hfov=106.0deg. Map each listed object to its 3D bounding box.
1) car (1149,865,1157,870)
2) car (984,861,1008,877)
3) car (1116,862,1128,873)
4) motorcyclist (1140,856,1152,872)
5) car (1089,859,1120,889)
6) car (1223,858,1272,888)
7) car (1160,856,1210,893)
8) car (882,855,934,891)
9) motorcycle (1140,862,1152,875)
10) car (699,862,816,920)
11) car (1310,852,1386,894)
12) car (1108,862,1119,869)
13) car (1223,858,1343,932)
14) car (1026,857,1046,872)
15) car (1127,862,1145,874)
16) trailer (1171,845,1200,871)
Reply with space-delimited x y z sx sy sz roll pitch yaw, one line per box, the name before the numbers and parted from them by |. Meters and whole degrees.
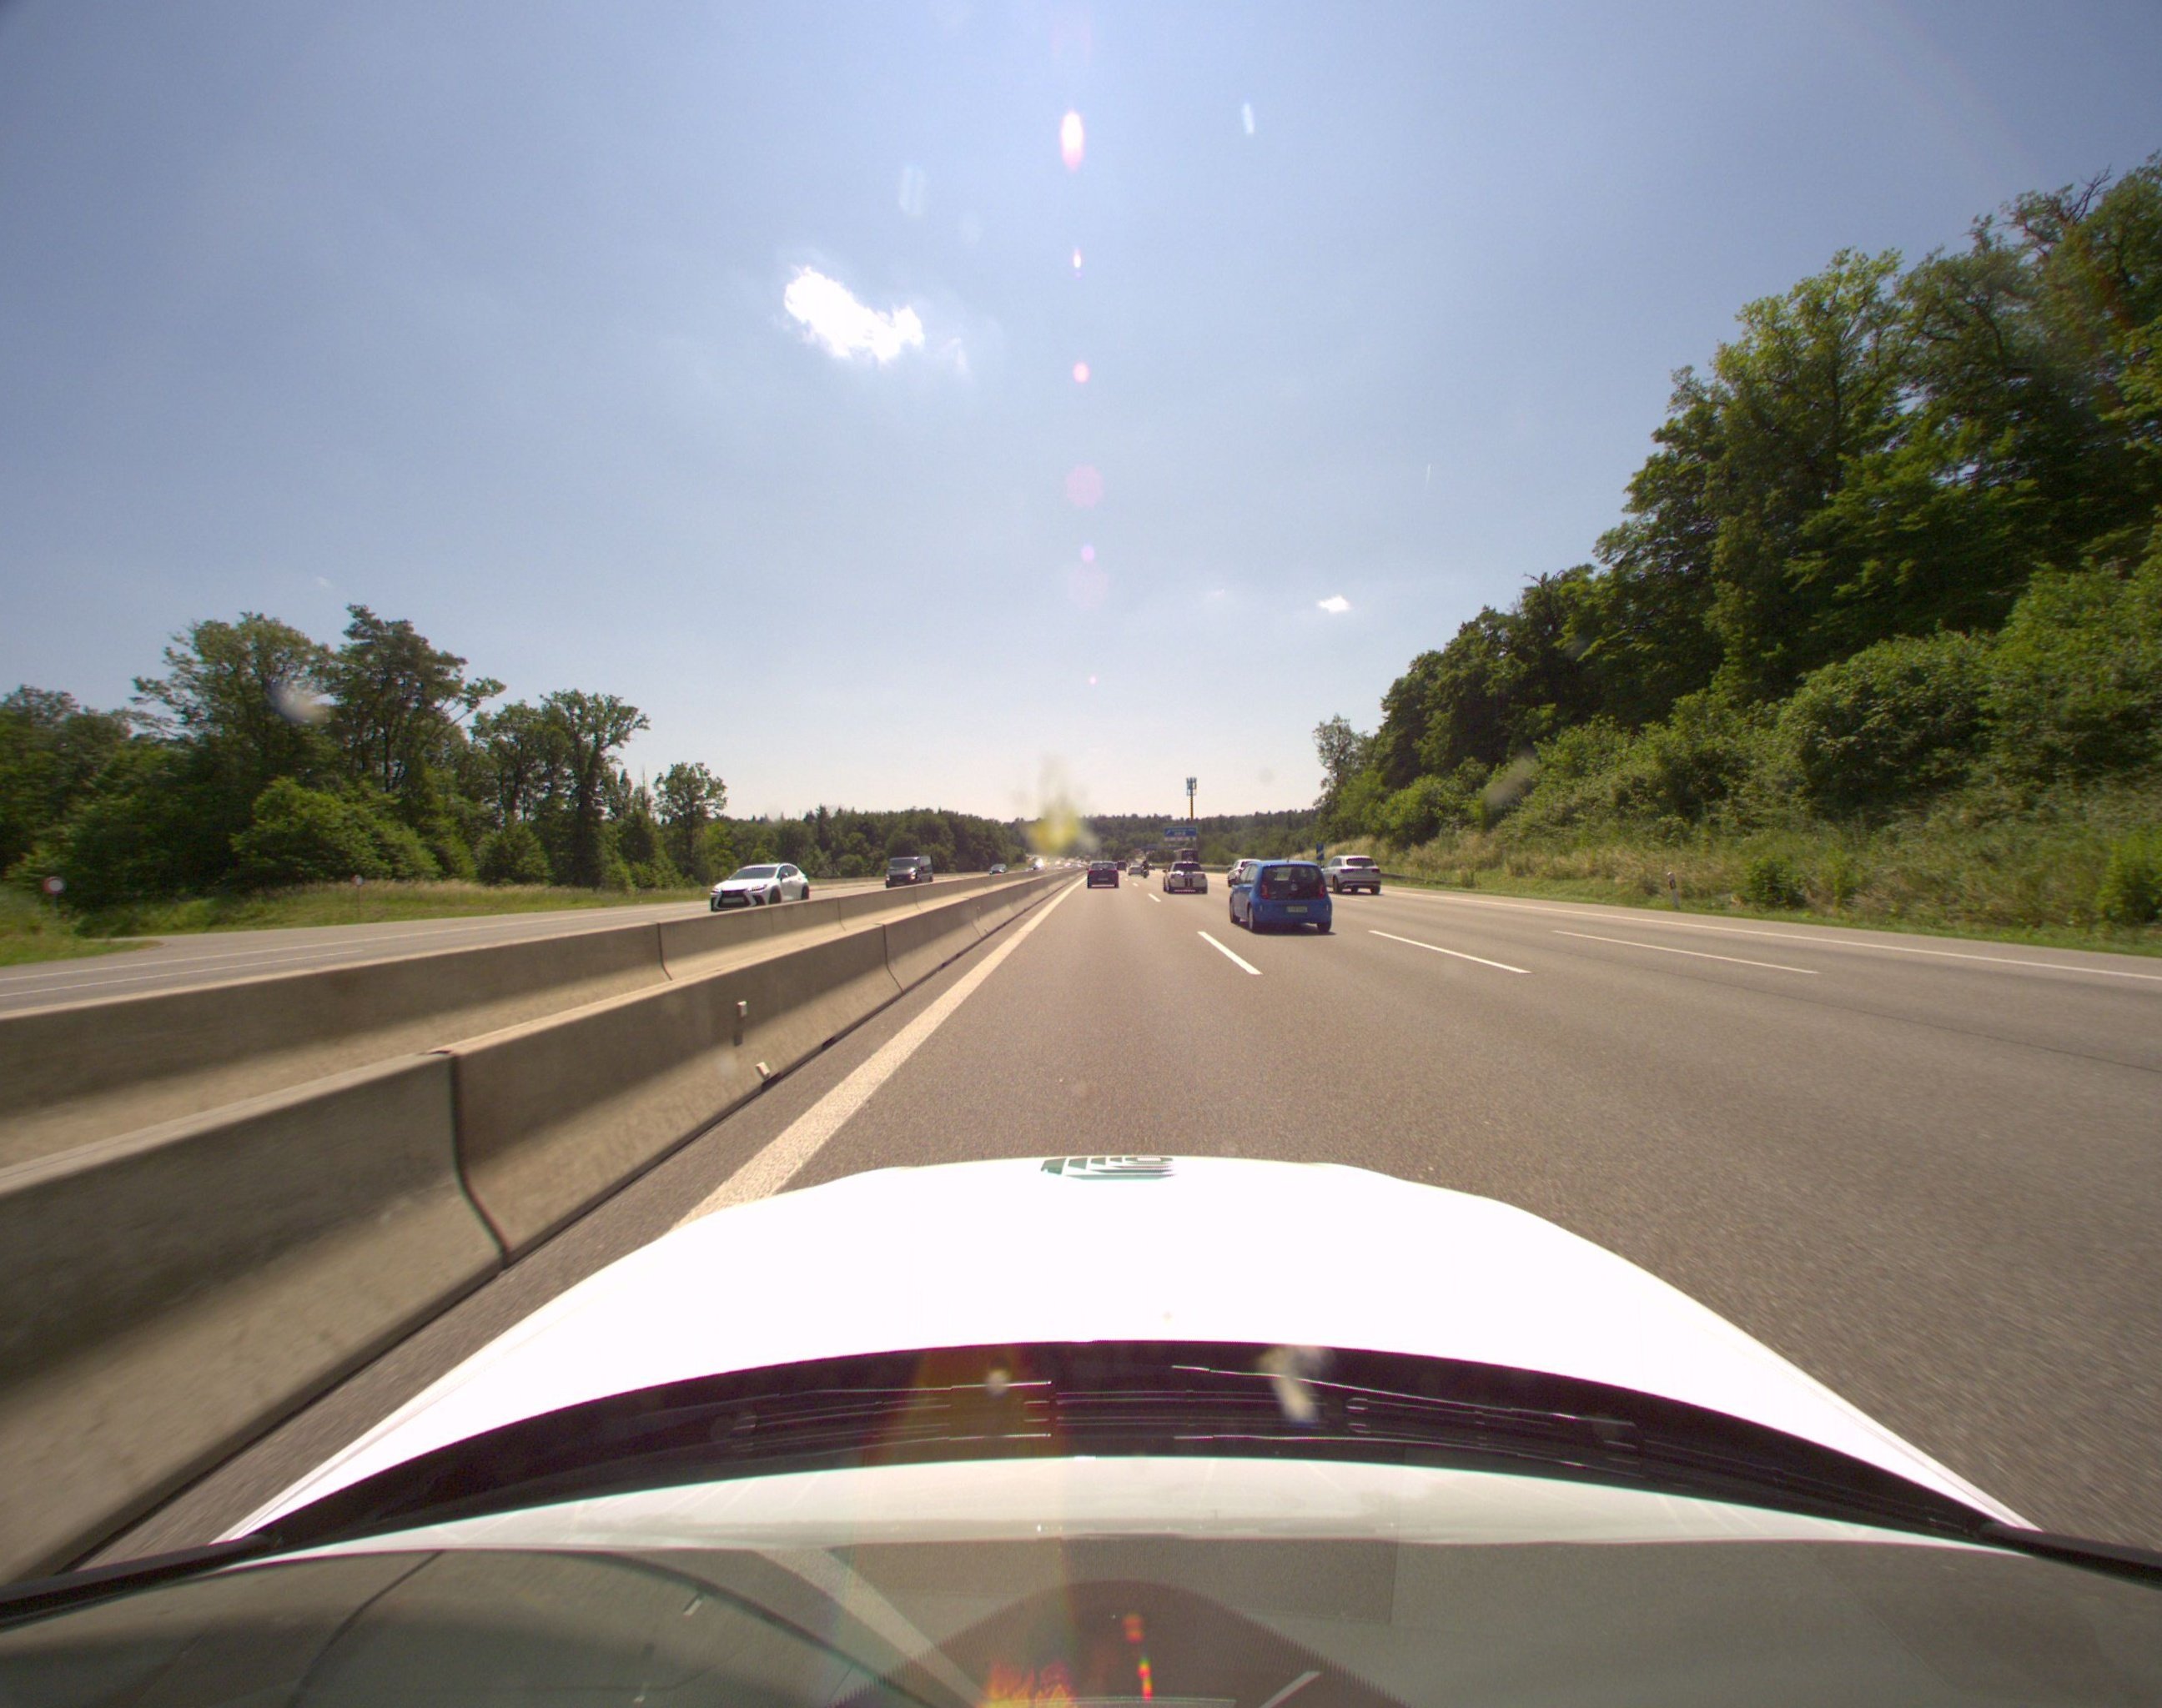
car | 17.213 3.256 195.081 1.603 1.212 3.459 -2 -1 0
car | -9.751 1.689 93.669 1.987 1.675 5.281 -4 -1 1
car | 7.803 2.553 153.800 2.090 1.851 4.081 -2 0 1
motorcyclist | 5.959 0.898 74.464 0.959 1.437 1.234 -3 0 0
car | 1.285 1.050 44.267 1.618 1.487 3.687 0 0 2
car | 8.660 0.954 42.647 1.660 1.433 4.375 -2 0 1
car | 4.565 0.914 36.259 1.834 1.552 4.001 0 -2 2
car | -10.161 1.072 48.173 1.987 2.013 4.811 -1 0 -1
motorcycle | 5.946 1.322 74.515 0.974 1.129 2.271 -2 0 0
car | -10.487 1.122 26.839 1.889 1.662 4.729 -2 0 0
car | 11.702 0.767 36.088 1.794 1.731 5.240 0 0 1
car | 7.450 2.652 186.062 1.989 1.684 4.419 0 0 -3
car | 4.279 0.815 17.866 1.731 1.411 4.001 -1 -1 2
car | -5.523 1.293 101.375 1.987 1.673 5.281 -4 -1 1
car | 6.140 1.577 90.928 1.776 1.265 3.461 -2 0 1
trailer | 15.954 0.666 125.247 2.847 3.688 13.544 -2 -1 1
